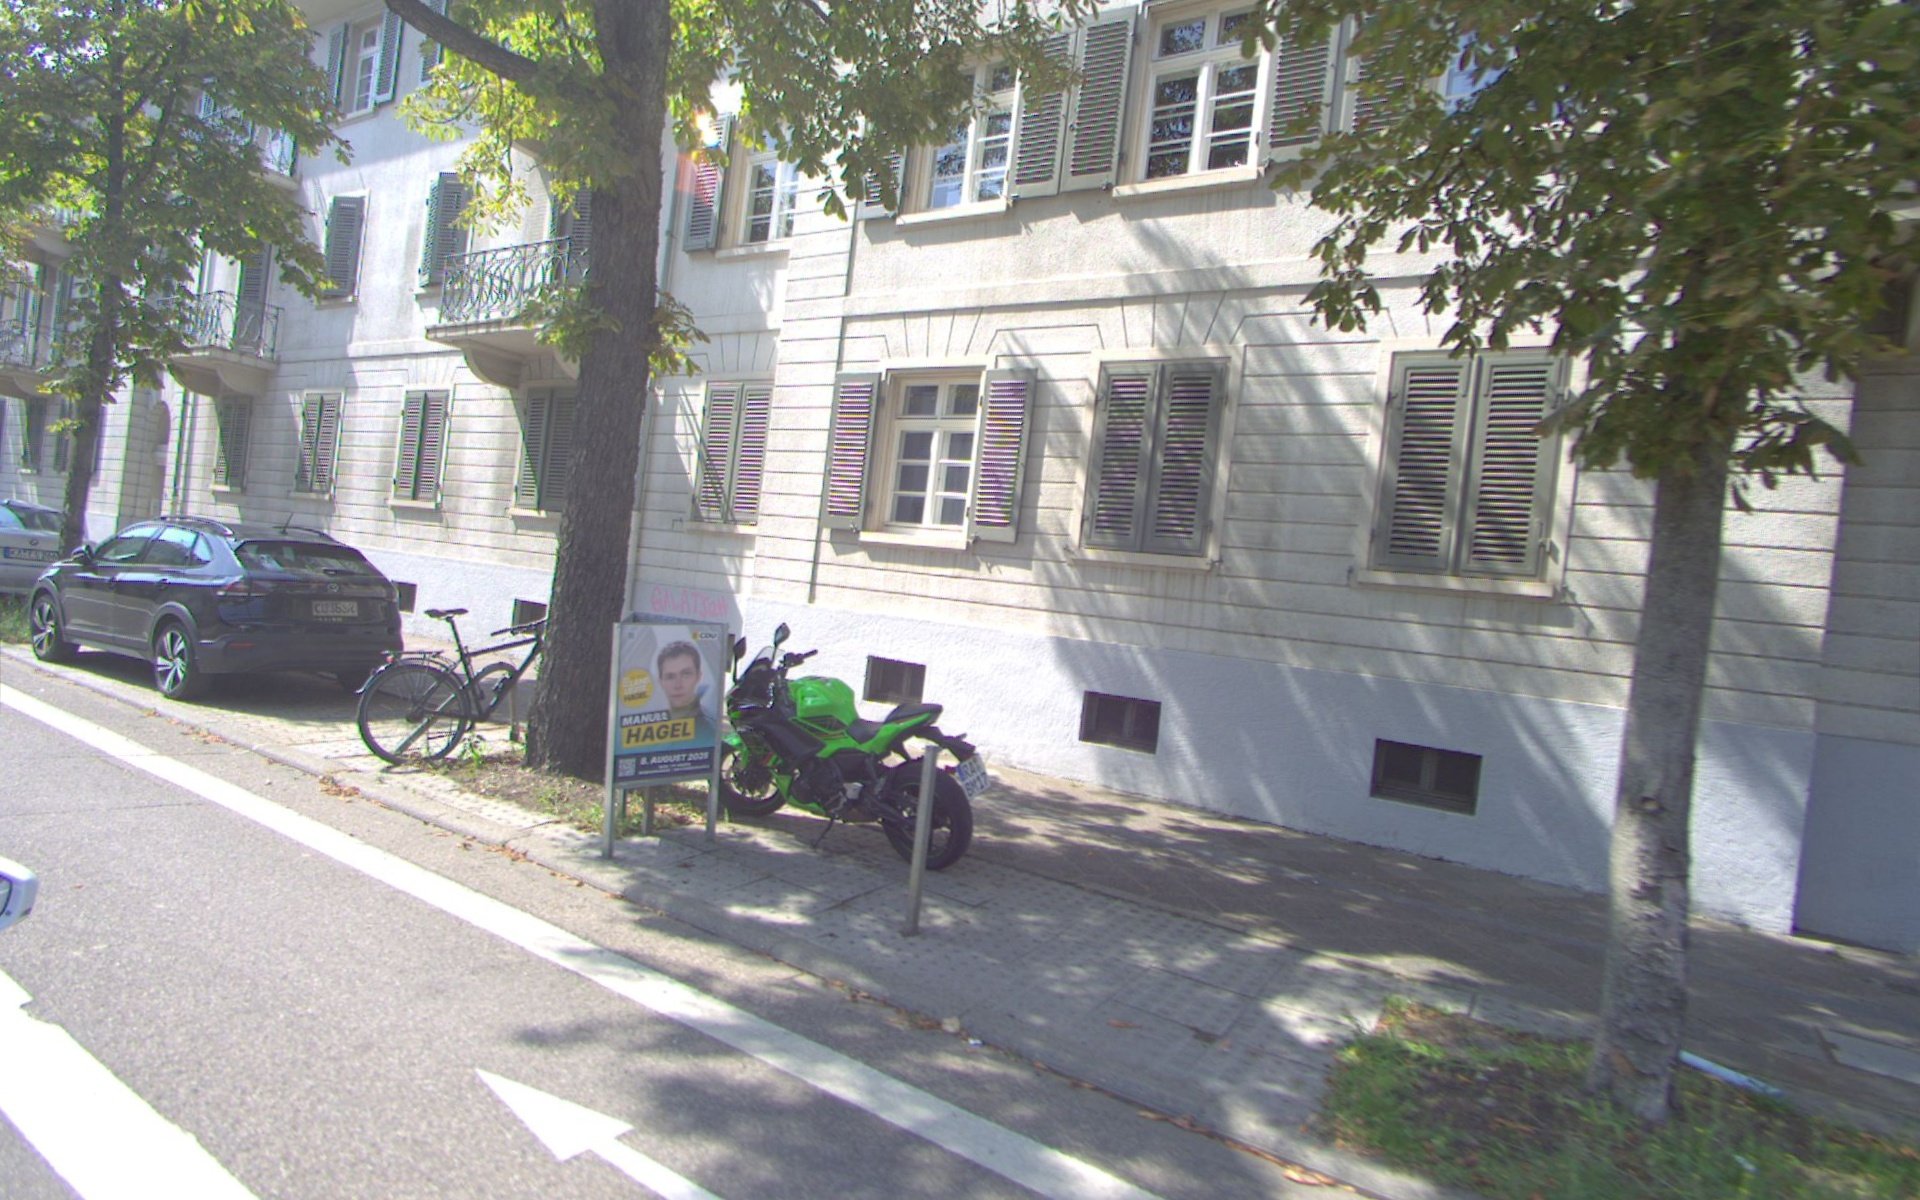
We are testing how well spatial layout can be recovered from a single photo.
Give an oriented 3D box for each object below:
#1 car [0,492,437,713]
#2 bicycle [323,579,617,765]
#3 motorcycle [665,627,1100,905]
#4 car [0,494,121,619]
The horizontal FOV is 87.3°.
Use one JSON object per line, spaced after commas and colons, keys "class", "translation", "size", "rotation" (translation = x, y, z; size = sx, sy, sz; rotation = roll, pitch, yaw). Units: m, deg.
{"class": "car", "translation": [-7.223, -0.042, 9.616], "size": [4.357, 1.526, 1.666], "rotation": [6, 0, 28]}
{"class": "bicycle", "translation": [-3.486, 0.529, 7.325], "size": [0.645, 1.136, 1.757], "rotation": [7, -1, 32]}
{"class": "motorcycle", "translation": [-0.518, 0.880, 6.009], "size": [2.455, 1.124, 0.828], "rotation": [6, 0, 30]}
{"class": "car", "translation": [-13.556, -0.757, 13.640], "size": [4.671, 1.468, 1.785], "rotation": [6, 0, 30]}
